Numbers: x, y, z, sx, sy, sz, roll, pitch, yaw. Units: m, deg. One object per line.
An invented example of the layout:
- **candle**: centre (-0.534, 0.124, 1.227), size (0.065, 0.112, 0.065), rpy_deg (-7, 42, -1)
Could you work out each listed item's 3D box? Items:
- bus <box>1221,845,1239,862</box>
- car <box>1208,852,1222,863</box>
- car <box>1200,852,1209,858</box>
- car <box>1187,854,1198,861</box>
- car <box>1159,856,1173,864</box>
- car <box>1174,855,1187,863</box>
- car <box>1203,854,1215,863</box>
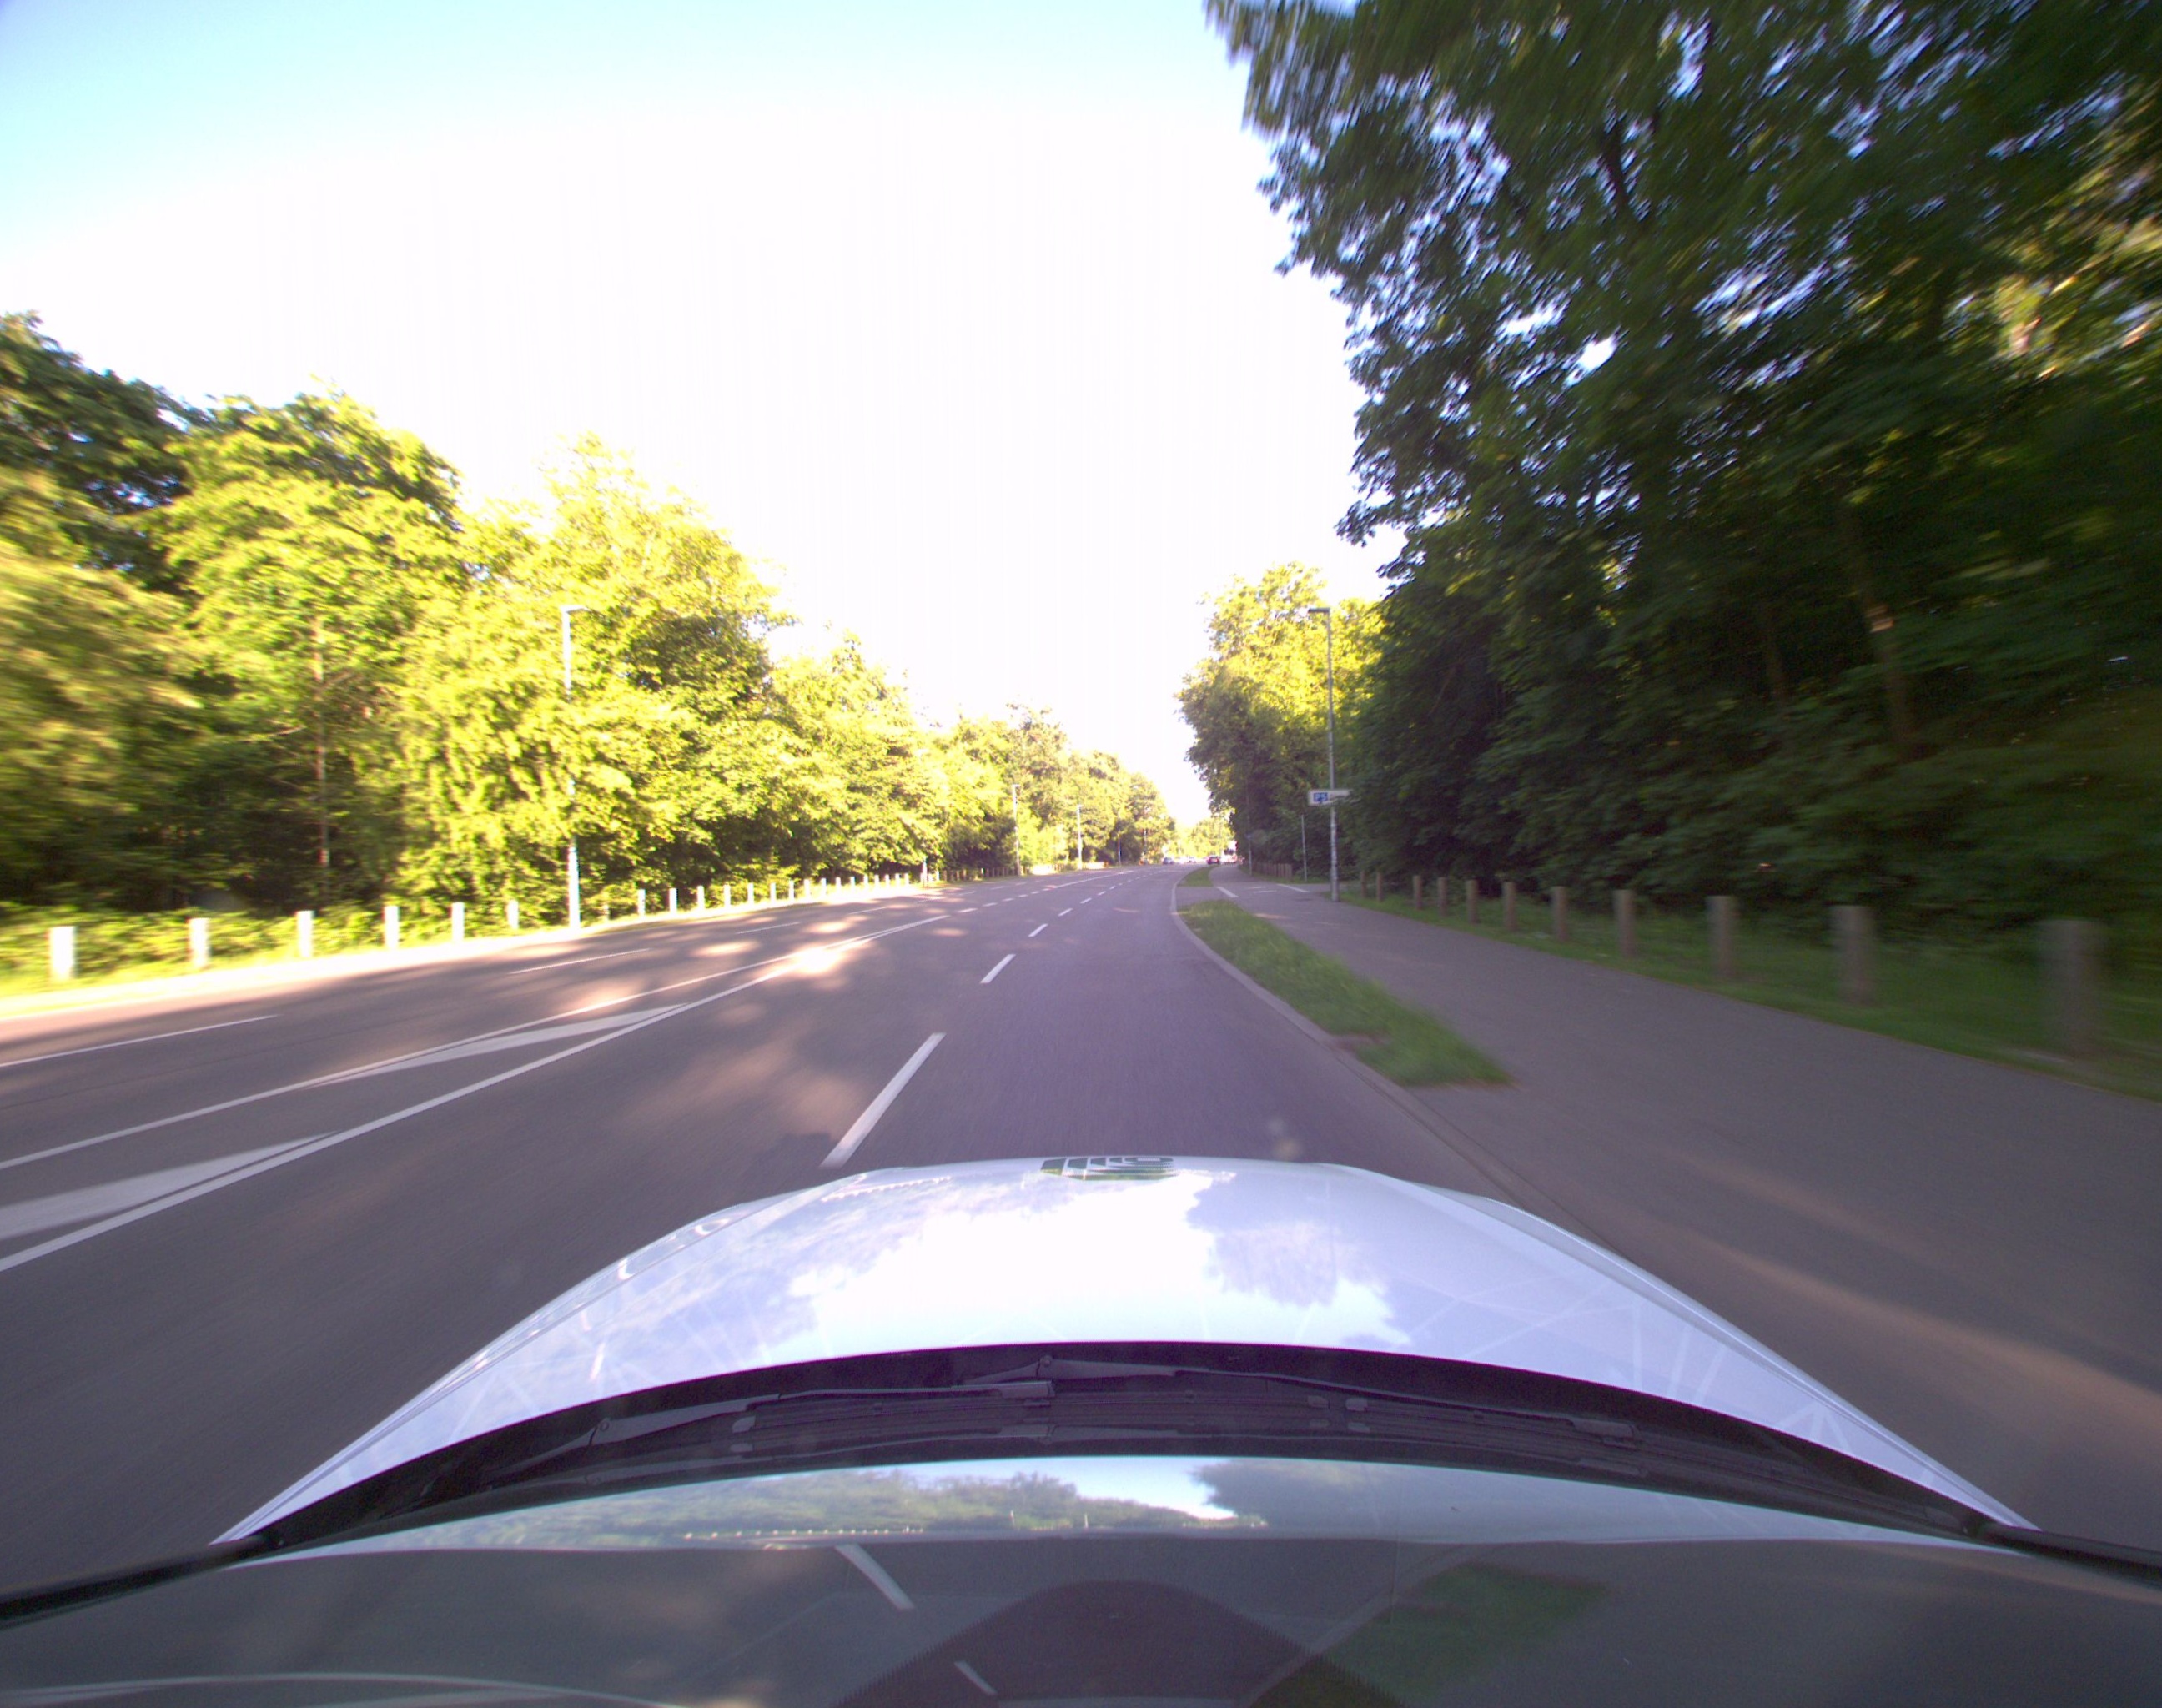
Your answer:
- **bus**: centre (30.617, -0.063, 167.118), size (2.585, 3.368, 8.010), rpy_deg (-1, 0, 17)
- **car**: centre (24.305, 0.656, 147.308), size (1.865, 1.765, 4.018), rpy_deg (-2, 0, 17)
- **car**: centre (32.697, 0.246, 216.046), size (1.650, 1.518, 3.824), rpy_deg (-2, 0, 17)
- **car**: centre (26.325, 0.828, 191.742), size (1.768, 1.522, 4.419), rpy_deg (-2, 0, 19)
- **car**: centre (16.241, 1.174, 155.472), size (1.766, 1.408, 4.183), rpy_deg (-1, 1, 16)
- **car**: centre (21.394, 1.079, 174.483), size (1.765, 1.464, 4.295), rpy_deg (-3, -1, 19)
- **car**: centre (25.774, 0.918, 163.755), size (1.865, 1.709, 4.018), rpy_deg (-2, 0, 17)
